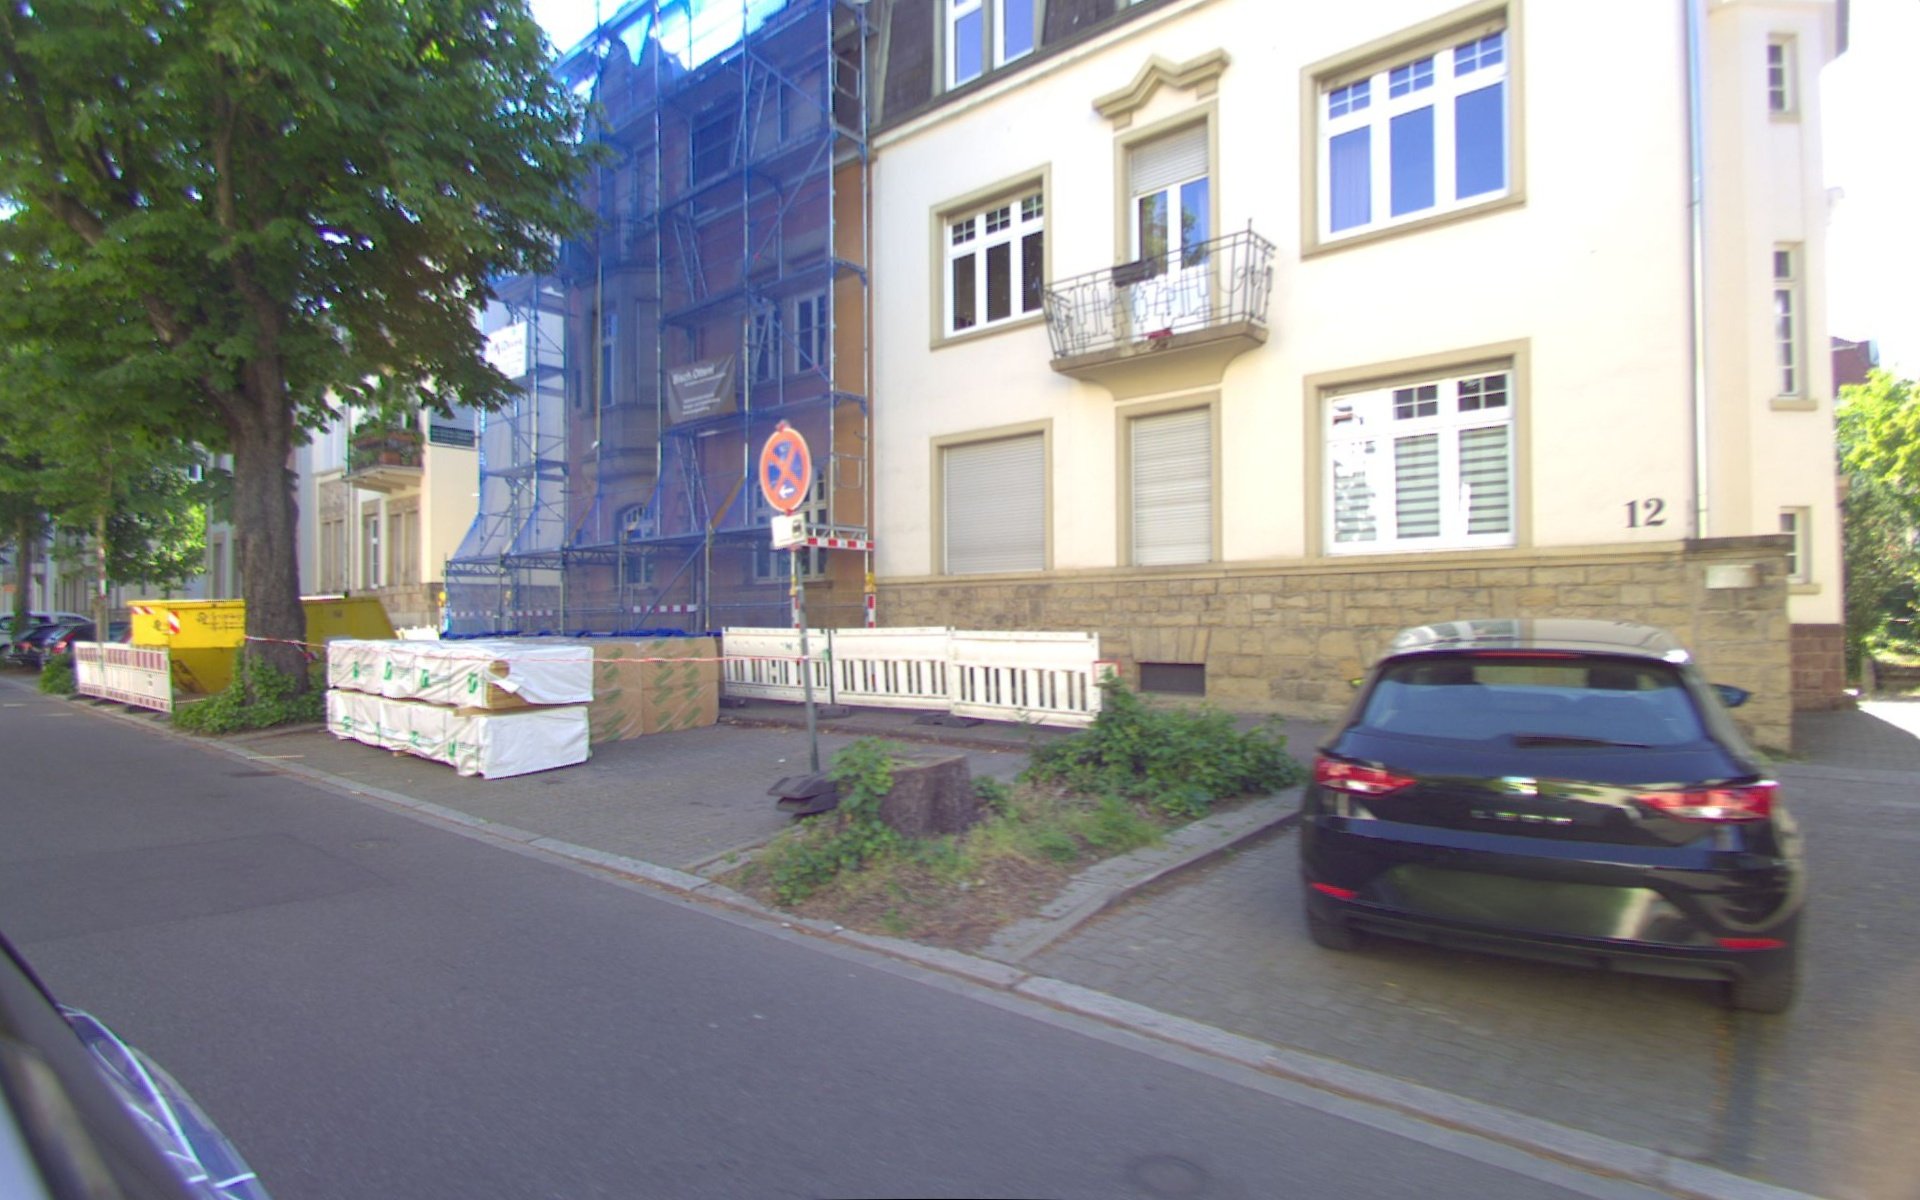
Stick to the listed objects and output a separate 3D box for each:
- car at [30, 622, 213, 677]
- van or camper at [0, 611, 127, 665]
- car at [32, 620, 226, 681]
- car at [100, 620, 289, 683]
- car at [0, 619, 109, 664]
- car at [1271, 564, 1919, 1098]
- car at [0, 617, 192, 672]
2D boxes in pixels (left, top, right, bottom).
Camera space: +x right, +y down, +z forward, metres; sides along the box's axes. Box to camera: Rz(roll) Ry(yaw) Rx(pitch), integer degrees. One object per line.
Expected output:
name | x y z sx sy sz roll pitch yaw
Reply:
car | -23.481 1.356 28.437 1.645 1.442 3.708 -1 -2 41
van or camper | -31.902 1.309 35.508 1.808 1.787 3.904 -3 -2 40
car | -21.591 1.287 26.397 1.714 1.476 3.686 -3 -3 41
car | -19.188 1.266 25.454 1.695 1.459 3.512 -1 -2 41
car | -33.608 1.485 36.925 1.720 1.528 3.687 -1 -1 39
car | 2.984 0.623 5.046 1.827 1.525 3.842 -1 2 32
car | -25.376 1.263 29.840 1.709 1.411 4.097 -2 -1 40
